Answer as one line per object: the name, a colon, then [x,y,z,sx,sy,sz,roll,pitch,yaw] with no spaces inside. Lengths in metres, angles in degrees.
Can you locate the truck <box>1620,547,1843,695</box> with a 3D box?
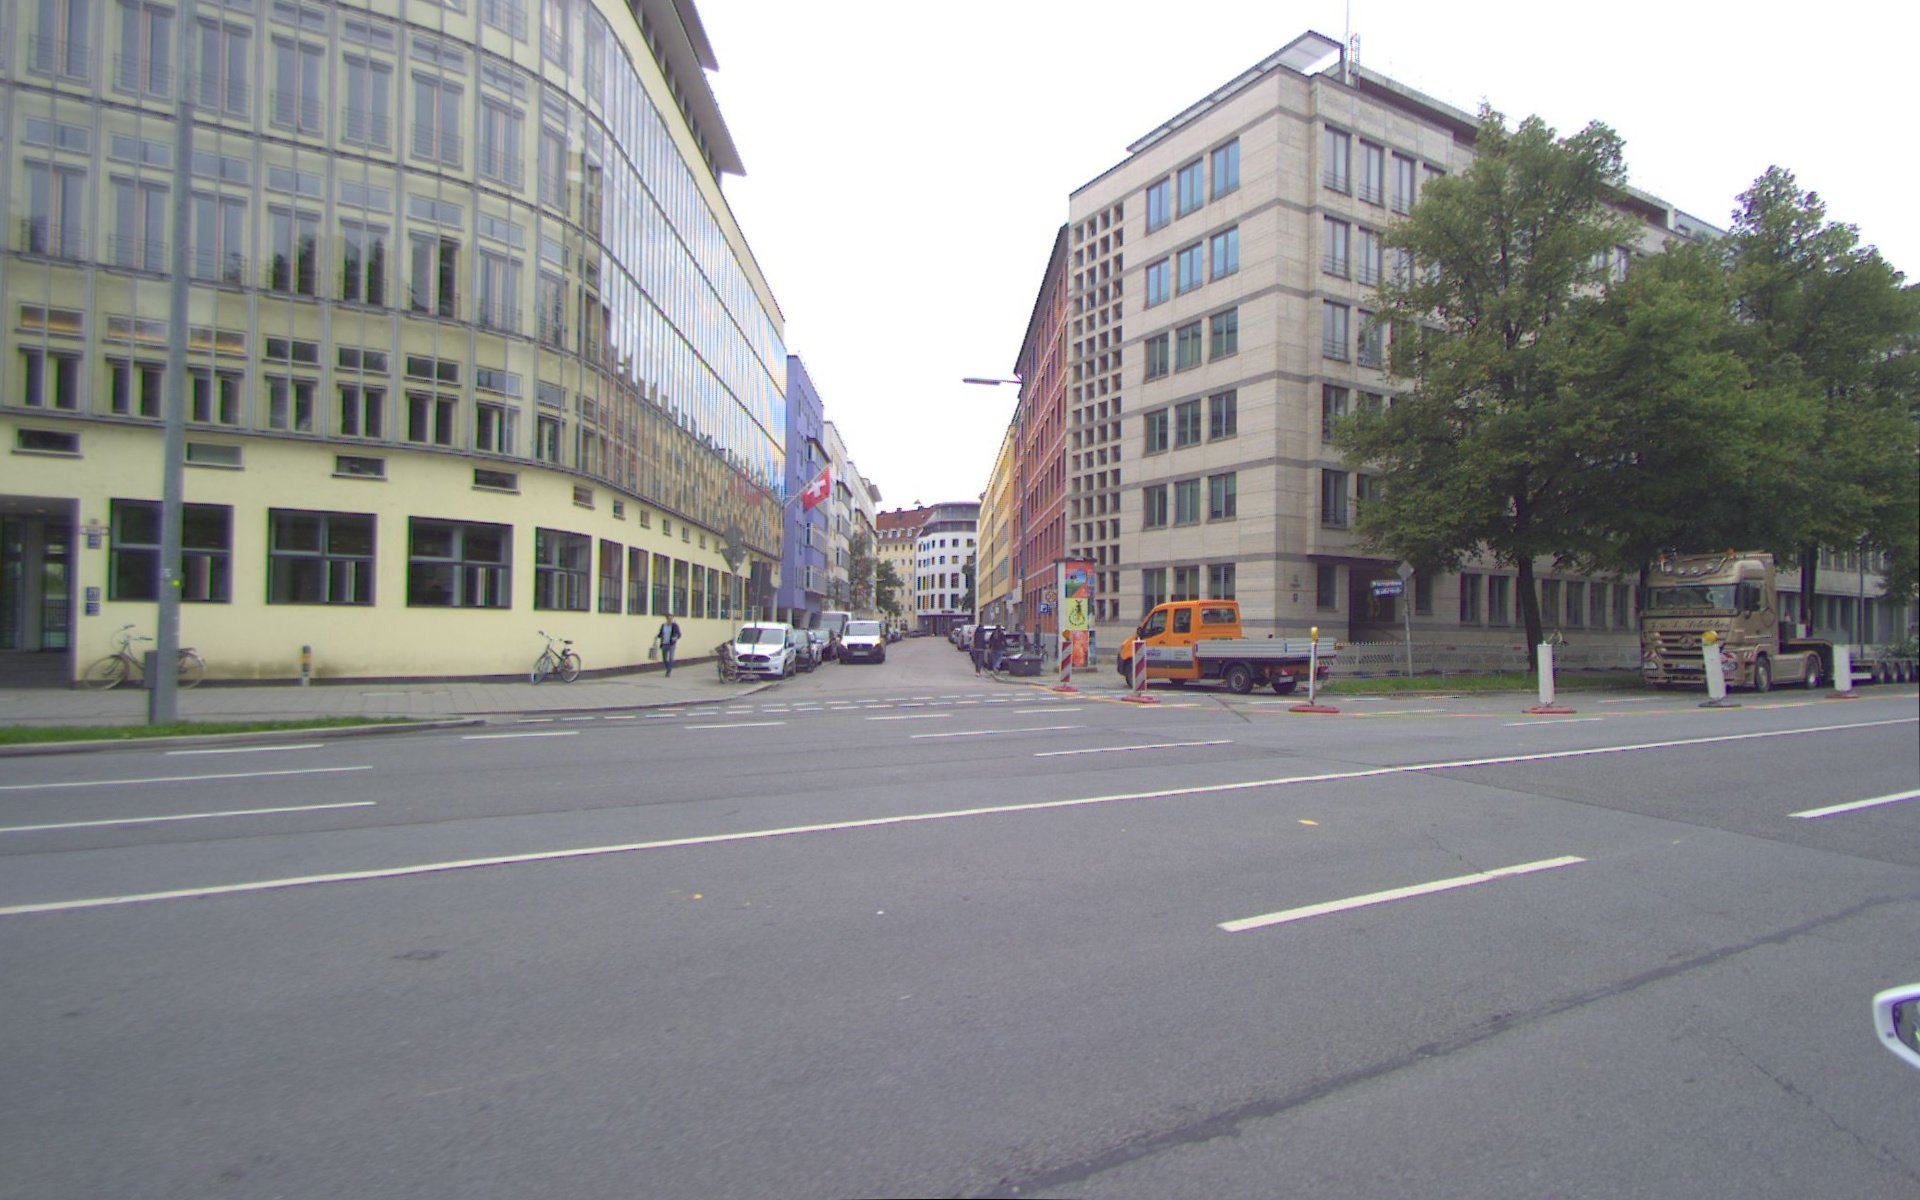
truck: [22.584,0.639,29.275,7.587,3.825,2.898,2,0,-34]

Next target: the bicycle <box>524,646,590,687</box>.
bicycle: [-9.542,1.559,23.845,0.574,0.889,1.738,0,-2,12]

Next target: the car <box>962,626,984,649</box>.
car: [0.921,2.687,72.524,1.460,1.612,3.183,1,-2,-2]

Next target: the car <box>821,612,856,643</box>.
car: [-7.196,1.652,59.758,1.834,1.773,3.998,1,-2,-4]

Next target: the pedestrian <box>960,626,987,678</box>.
pedestrian: [0.480,1.816,35.328,0.665,1.798,0.680,2,0,-26]

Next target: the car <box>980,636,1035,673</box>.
car: [1.873,2.168,40.357,1.445,1.393,3.232,1,-2,-12]

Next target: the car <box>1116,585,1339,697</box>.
car: [6.784,1.021,26.194,2.134,2.570,5.647,2,-2,-33]

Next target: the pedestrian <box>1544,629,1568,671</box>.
pedestrian: [25.319,2.131,42.677,0.755,1.755,0.576,2,0,-29]

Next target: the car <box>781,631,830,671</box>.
car: [-6.232,2.038,40.806,1.460,1.517,3.964,1,-2,-2]

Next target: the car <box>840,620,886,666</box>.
car: [-4.344,1.900,45.467,1.719,1.935,5.072,1,-2,-2]

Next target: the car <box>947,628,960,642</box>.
car: [-0.772,4.057,116.026,1.460,1.612,3.183,1,-2,-2]

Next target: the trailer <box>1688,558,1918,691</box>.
trailer: [28.080,0.840,33.146,11.654,3.790,2.930,2,0,-35]

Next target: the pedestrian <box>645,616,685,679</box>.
pedestrian: [-8.557,1.371,29.196,0.798,1.756,0.995,2,0,1]

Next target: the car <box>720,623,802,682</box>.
car: [-6.373,1.658,32.593,1.833,1.773,4.329,1,-2,-1]

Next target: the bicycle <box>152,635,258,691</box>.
bicycle: [-14.609,1.217,19.481,1.577,1.026,0.569,2,0,-34]

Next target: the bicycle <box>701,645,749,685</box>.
bicycle: [-6.564,1.798,28.134,0.574,1.034,1.847,0,-2,12]

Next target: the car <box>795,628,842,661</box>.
car: [-6.604,2.062,47.153,1.708,1.476,3.671,1,-2,-1]

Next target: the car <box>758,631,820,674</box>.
car: [-6.212,1.885,36.893,1.708,1.476,3.671,1,-2,-1]

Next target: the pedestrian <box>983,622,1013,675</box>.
pedestrian: [1.315,1.678,34.937,0.773,1.798,0.680,2,0,-26]
